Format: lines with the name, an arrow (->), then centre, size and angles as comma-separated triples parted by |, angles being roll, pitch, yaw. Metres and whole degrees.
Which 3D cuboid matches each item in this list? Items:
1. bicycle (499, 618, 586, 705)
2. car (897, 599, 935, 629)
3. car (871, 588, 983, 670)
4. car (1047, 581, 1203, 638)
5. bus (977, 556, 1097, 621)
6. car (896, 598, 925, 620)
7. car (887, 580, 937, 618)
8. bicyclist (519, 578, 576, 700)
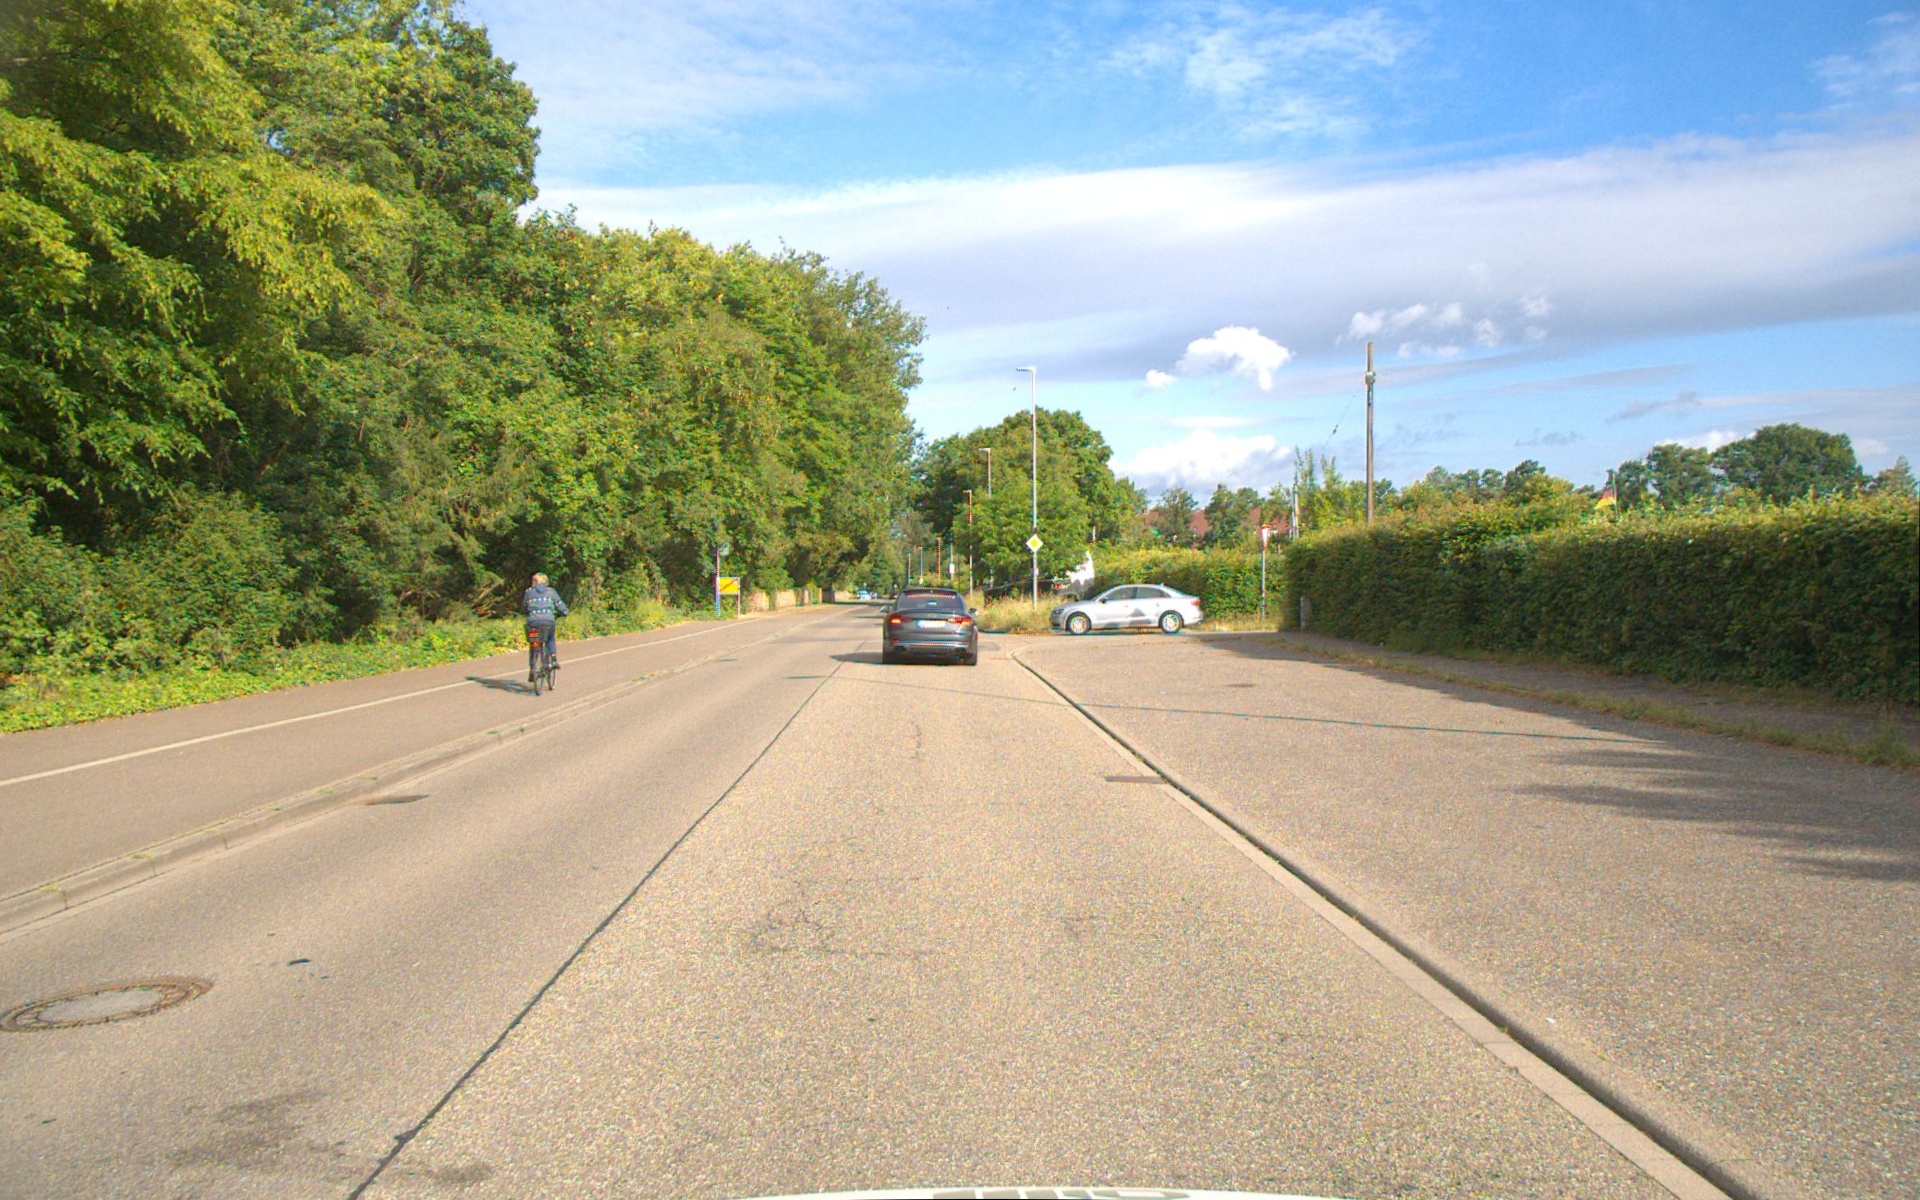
bicycle -> -5.923, 0.849, 23.580 | 0.649, 1.116, 2.348 | 1, 0, -1
car -> -2.248, 0.684, 84.080 | 1.849, 1.490, 4.052 | -1, 0, -2
car -> -0.565, 0.512, 32.008 | 1.925, 1.459, 4.337 | 0, 0, 2
car -> 4.665, 0.263, 46.953 | 4.270, 1.468, 1.933 | -2, 0, 5
bus -> 3.546, -0.563, 76.858 | 5.260, 2.794, 2.067 | -2, 1, -5
car -> -3.343, 0.584, 111.189 | 1.849, 1.396, 4.052 | -1, 0, -2
car -> -1.888, -0.040, 64.226 | 1.849, 1.396, 4.052 | -1, 0, -2
bicyclist -> -5.906, 0.546, 23.702 | 0.596, 1.706, 0.883 | 1, 0, -1
